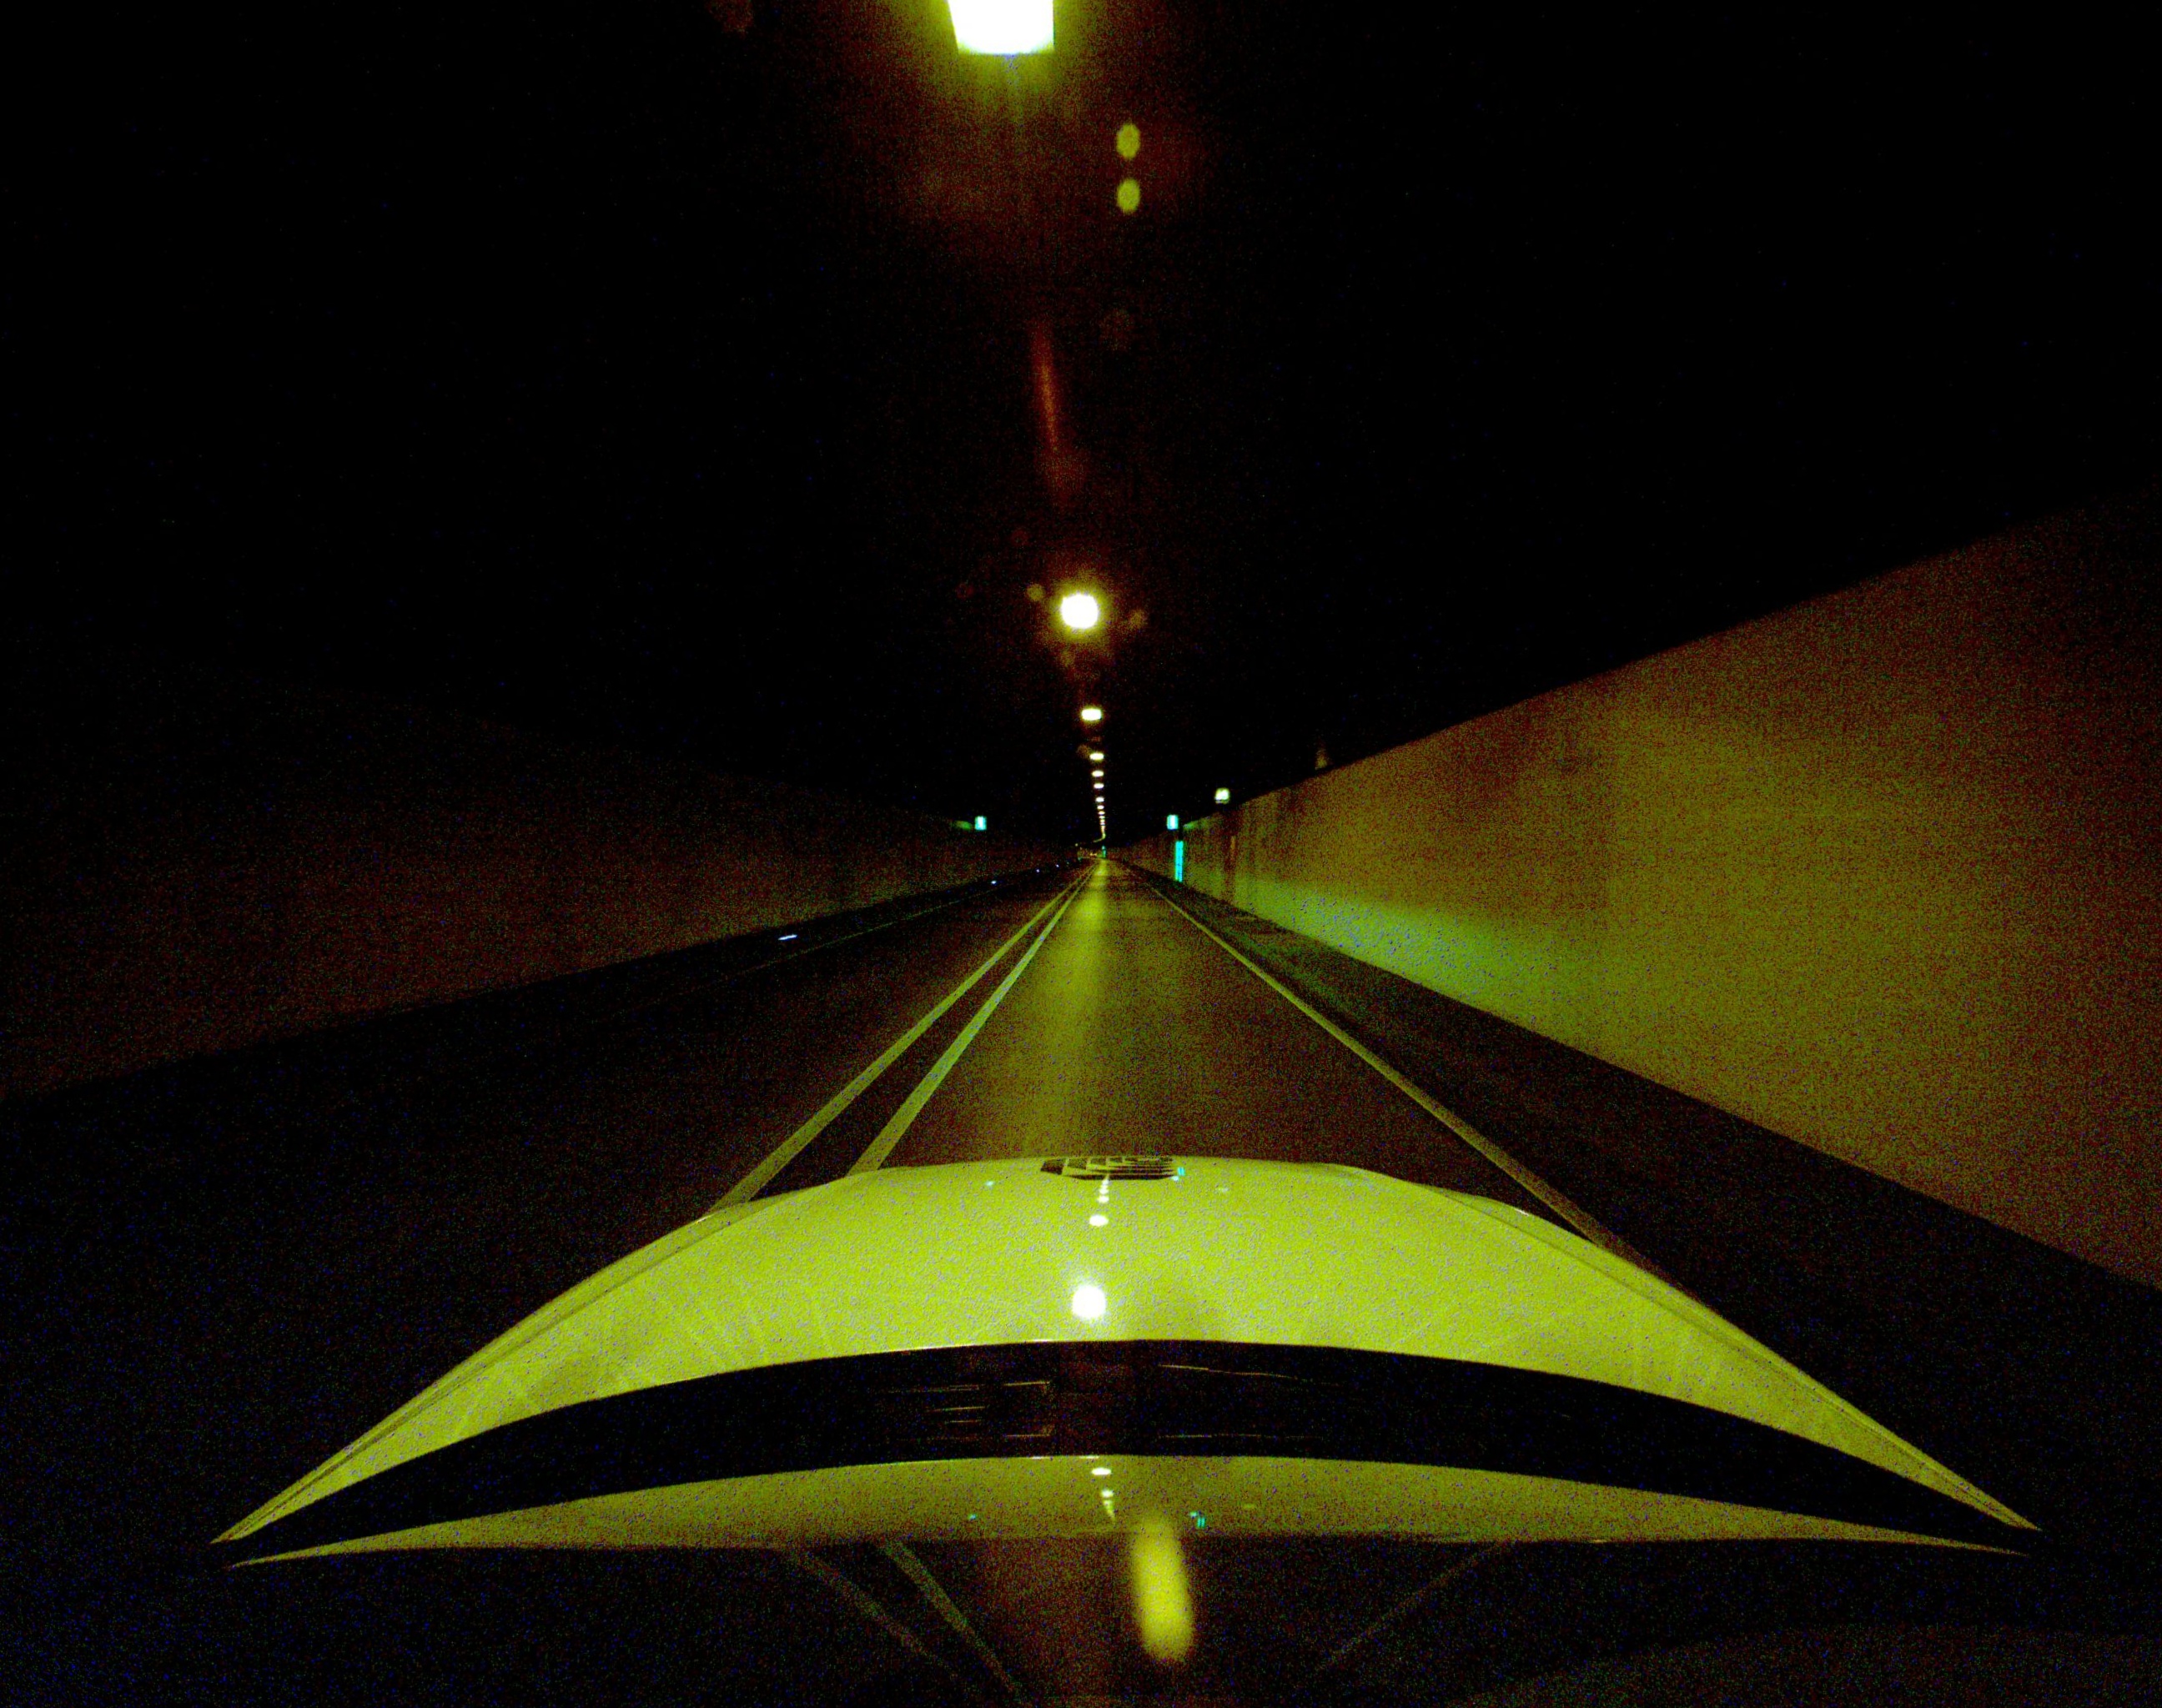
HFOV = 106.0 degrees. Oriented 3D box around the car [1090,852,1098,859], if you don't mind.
[{"bbox_3d":[3.784,0.489,240.937,1.962,1.939,4.607,0,-1,-3],"label":"car"}]
